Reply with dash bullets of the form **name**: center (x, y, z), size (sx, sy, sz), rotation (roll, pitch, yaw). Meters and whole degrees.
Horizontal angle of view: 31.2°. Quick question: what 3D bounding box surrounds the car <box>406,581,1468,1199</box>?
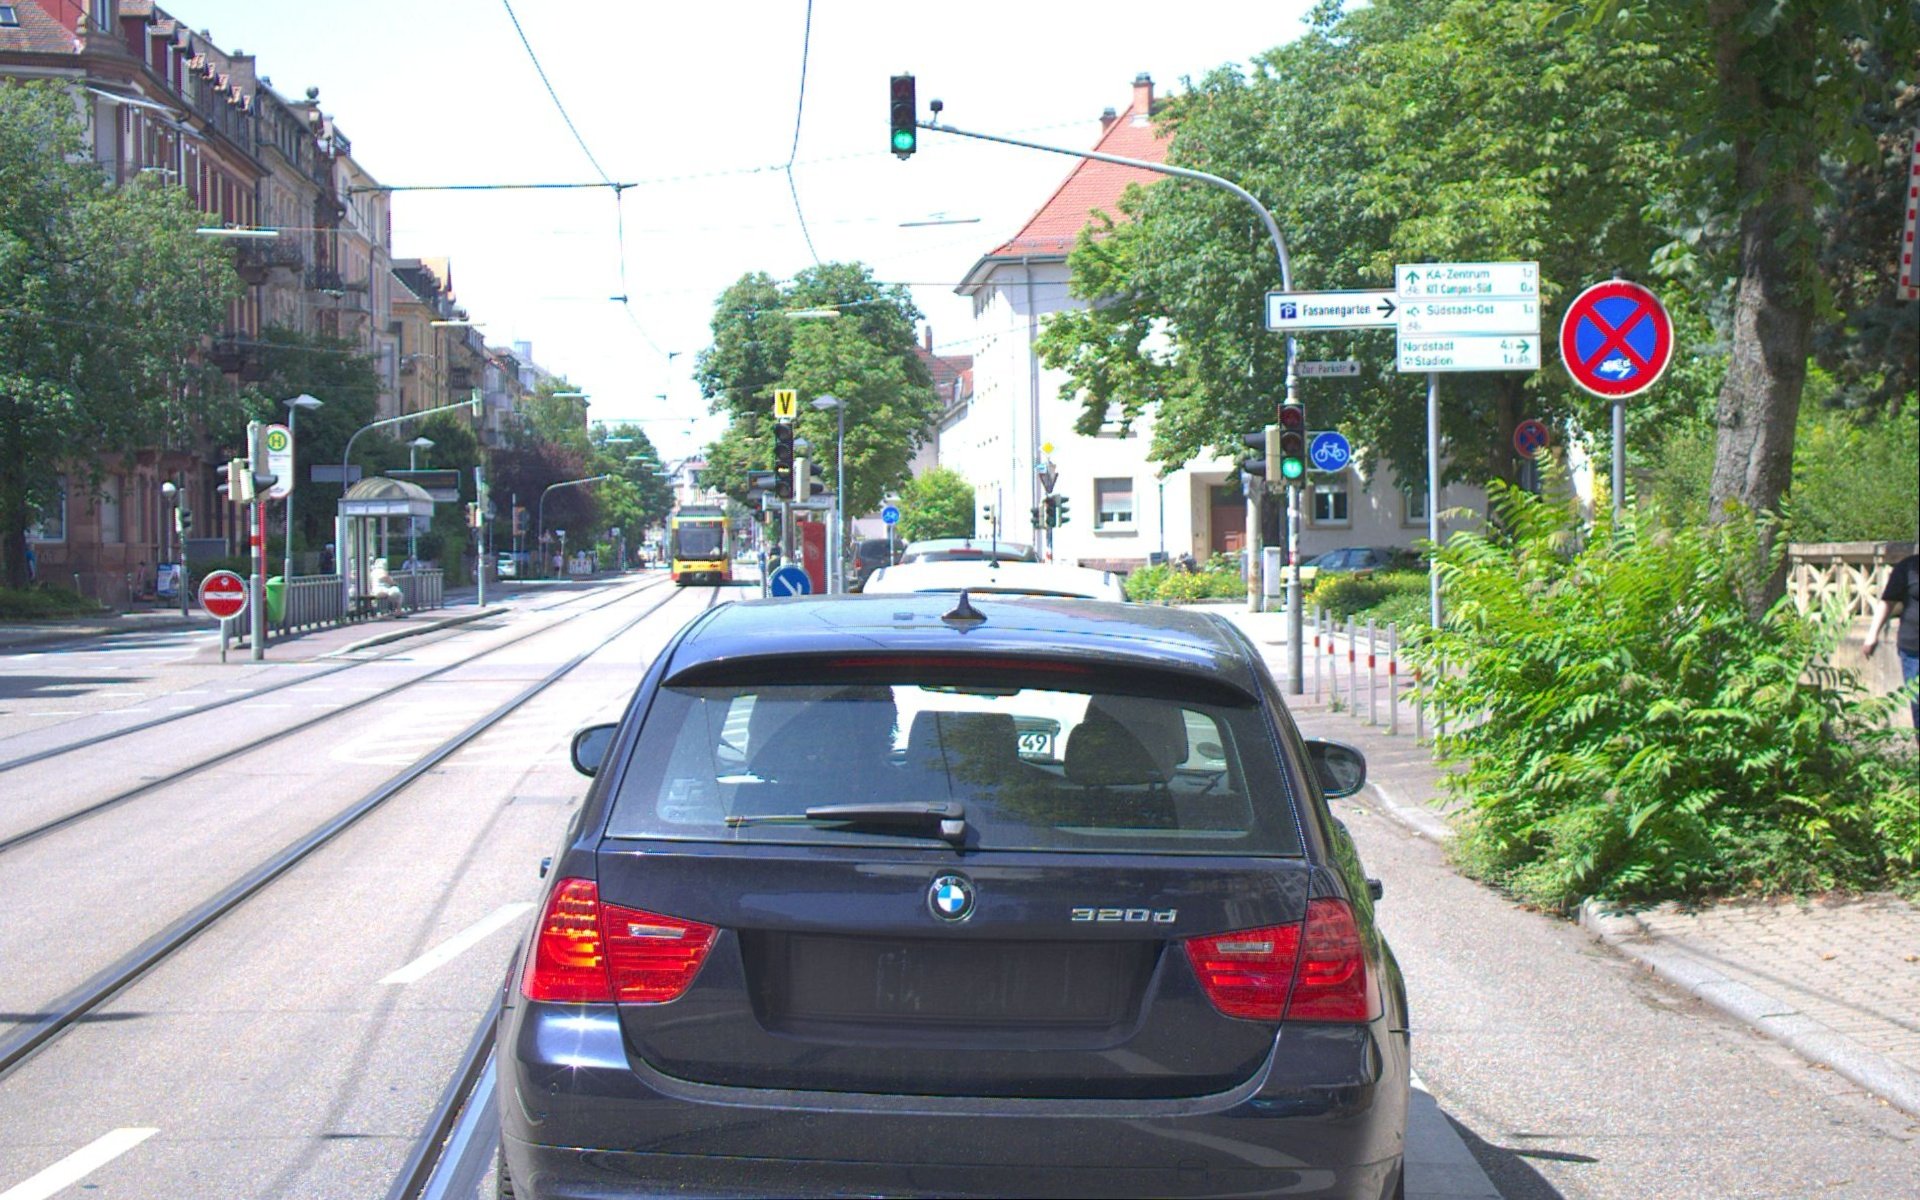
- **car**: center (0.016, 0.711, 7.941), size (1.722, 1.404, 4.565), rotation (2, 1, 2)

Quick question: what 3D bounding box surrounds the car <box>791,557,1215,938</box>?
- **car**: center (0.152, 0.568, 15.612), size (1.685, 1.479, 3.685), rotation (-1, 1, -1)

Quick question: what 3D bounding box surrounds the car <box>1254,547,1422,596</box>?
- **car**: center (9.730, -0.733, 88.492), size (3.994, 1.239, 1.620), rotation (0, 1, 32)

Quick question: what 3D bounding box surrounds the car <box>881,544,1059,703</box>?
- **car**: center (0.106, 0.191, 34.685), size (1.691, 1.508, 3.821), rotation (0, 1, 0)

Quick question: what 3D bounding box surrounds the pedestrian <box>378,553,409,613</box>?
- **pedestrian**: center (-11.761, -0.359, 71.369), size (0.613, 1.238, 0.628), rotation (-1, 1, -9)

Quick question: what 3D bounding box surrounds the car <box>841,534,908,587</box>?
- **car**: center (-3.044, -1.421, 121.847), size (1.993, 1.842, 4.001), rotation (-1, 1, -7)

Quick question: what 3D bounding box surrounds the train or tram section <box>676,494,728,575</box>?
- **train or tram section**: center (-11.314, -2.879, 151.258), size (2.190, 3.470, 8.847), rotation (-1, 1, -4)

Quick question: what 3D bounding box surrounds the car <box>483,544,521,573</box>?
- **car**: center (-26.037, -2.351, 195.395), size (1.787, 1.580, 4.001), rotation (1, 0, -12)

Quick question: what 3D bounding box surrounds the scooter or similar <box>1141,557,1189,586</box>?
- **scooter or similar**: center (6.001, -0.844, 100.628), size (1.311, 0.834, 0.527), rotation (-1, 1, -9)

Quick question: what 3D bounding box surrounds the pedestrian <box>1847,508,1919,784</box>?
- **pedestrian**: center (5.909, 0.265, 20.887), size (0.857, 1.640, 0.836), rotation (-1, 1, 4)

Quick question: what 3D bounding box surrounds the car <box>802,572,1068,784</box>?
- **car**: center (-0.246, 0.484, 23.927), size (1.691, 1.318, 3.822), rotation (0, 1, -3)
